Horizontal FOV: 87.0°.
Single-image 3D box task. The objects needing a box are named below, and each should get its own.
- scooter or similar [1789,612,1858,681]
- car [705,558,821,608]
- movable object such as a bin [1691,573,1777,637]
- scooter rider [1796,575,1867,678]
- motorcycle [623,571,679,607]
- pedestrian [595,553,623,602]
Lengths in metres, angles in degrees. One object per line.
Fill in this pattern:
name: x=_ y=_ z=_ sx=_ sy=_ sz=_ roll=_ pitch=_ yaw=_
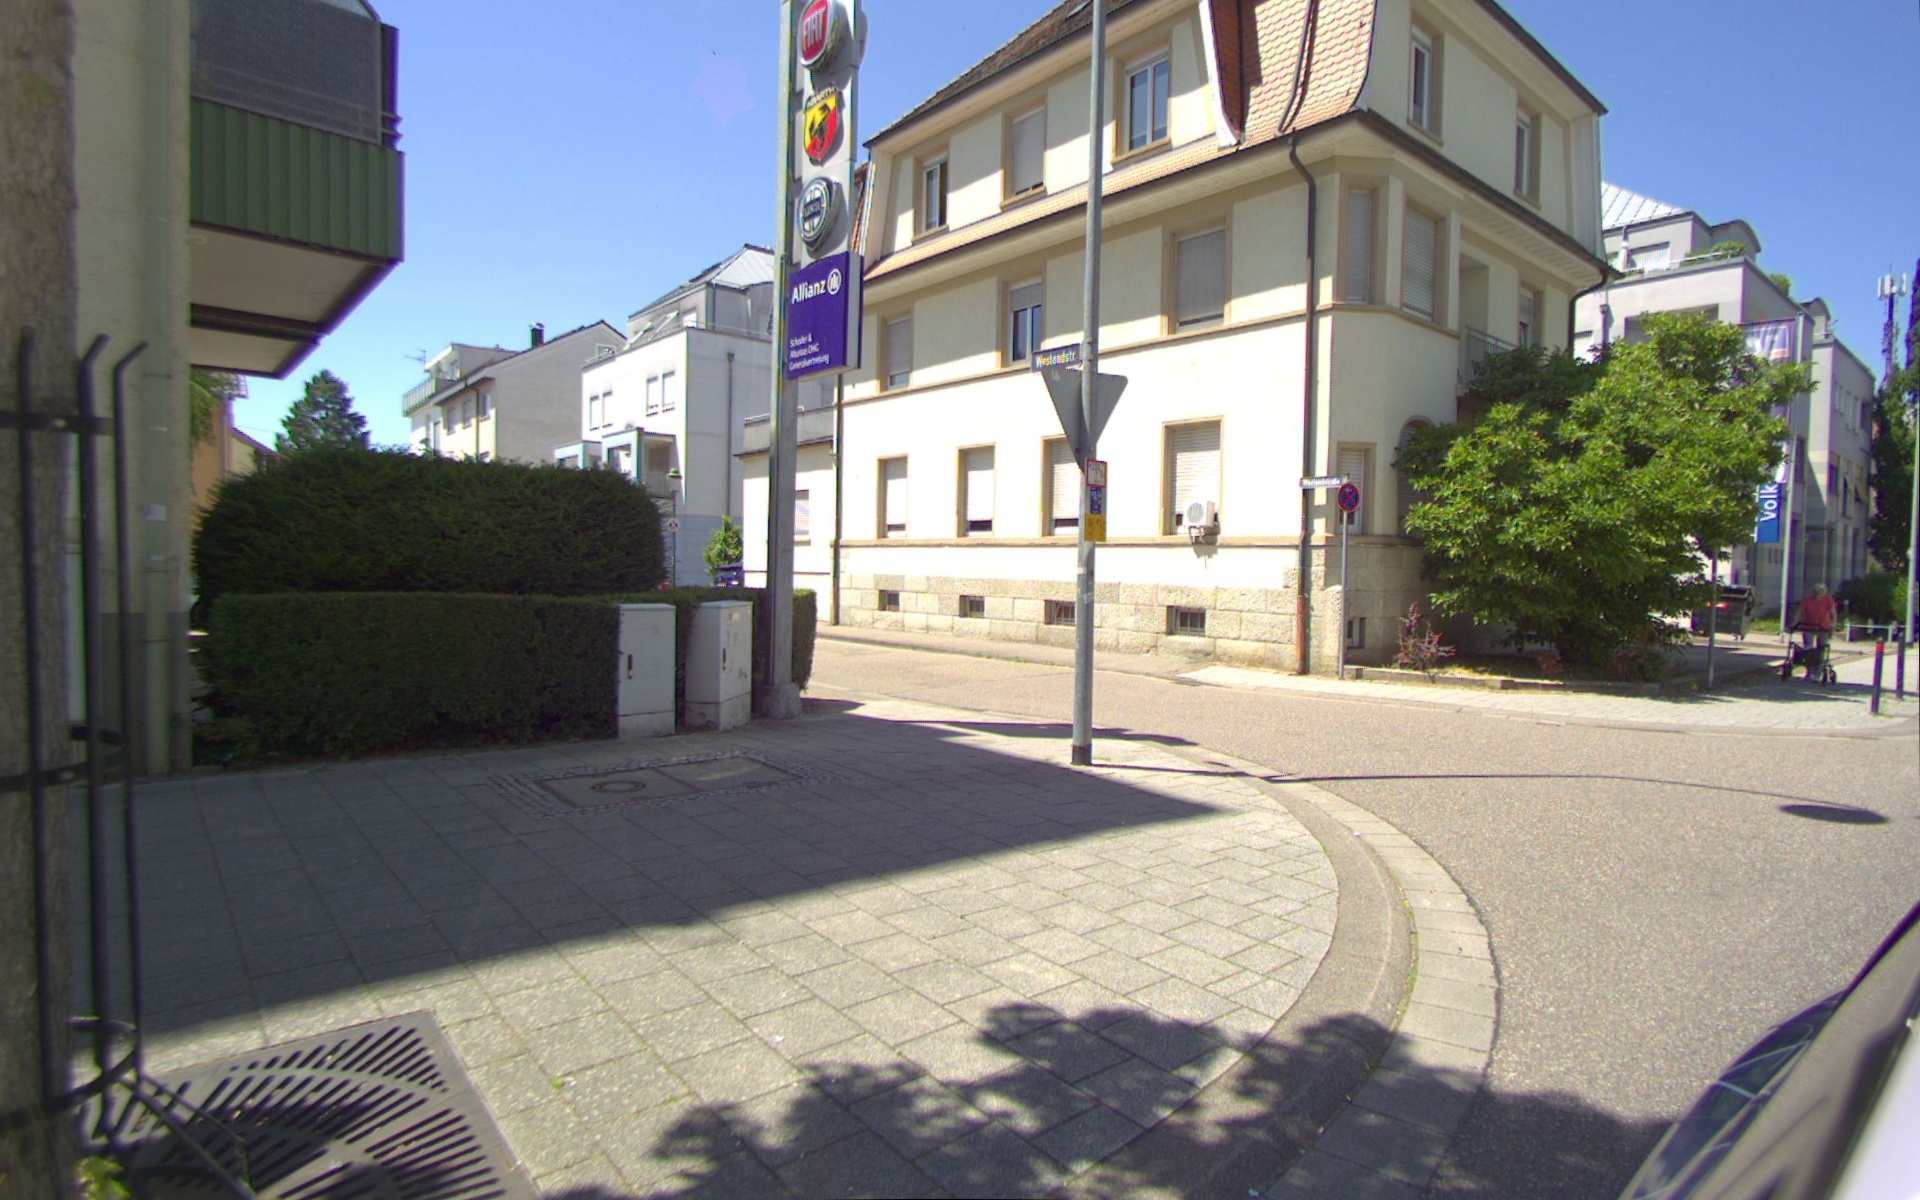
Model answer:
scooter or similar: x=13.311 y=0.703 z=15.594 sx=0.740 sy=0.975 sz=0.665 roll=0 pitch=3 yaw=-41
car: x=-6.150 y=-0.520 z=31.837 sx=1.608 sy=1.495 sz=3.382 roll=-1 pitch=0 yaw=37
movable object such as a bin: x=19.715 y=0.106 z=25.800 sx=1.355 sy=1.476 sz=1.372 roll=0 pitch=5 yaw=-38
scooter rider: x=13.781 y=0.399 z=16.002 sx=0.757 sy=1.568 sz=0.717 roll=0 pitch=2 yaw=-42
motorcycle: x=-11.049 y=-0.397 z=36.216 sx=0.734 sy=1.174 sz=1.776 roll=-1 pitch=2 yaw=43
pedestrian: x=-12.086 y=-0.767 z=34.866 sx=0.705 sy=1.647 sz=0.684 roll=0 pitch=1 yaw=-40
